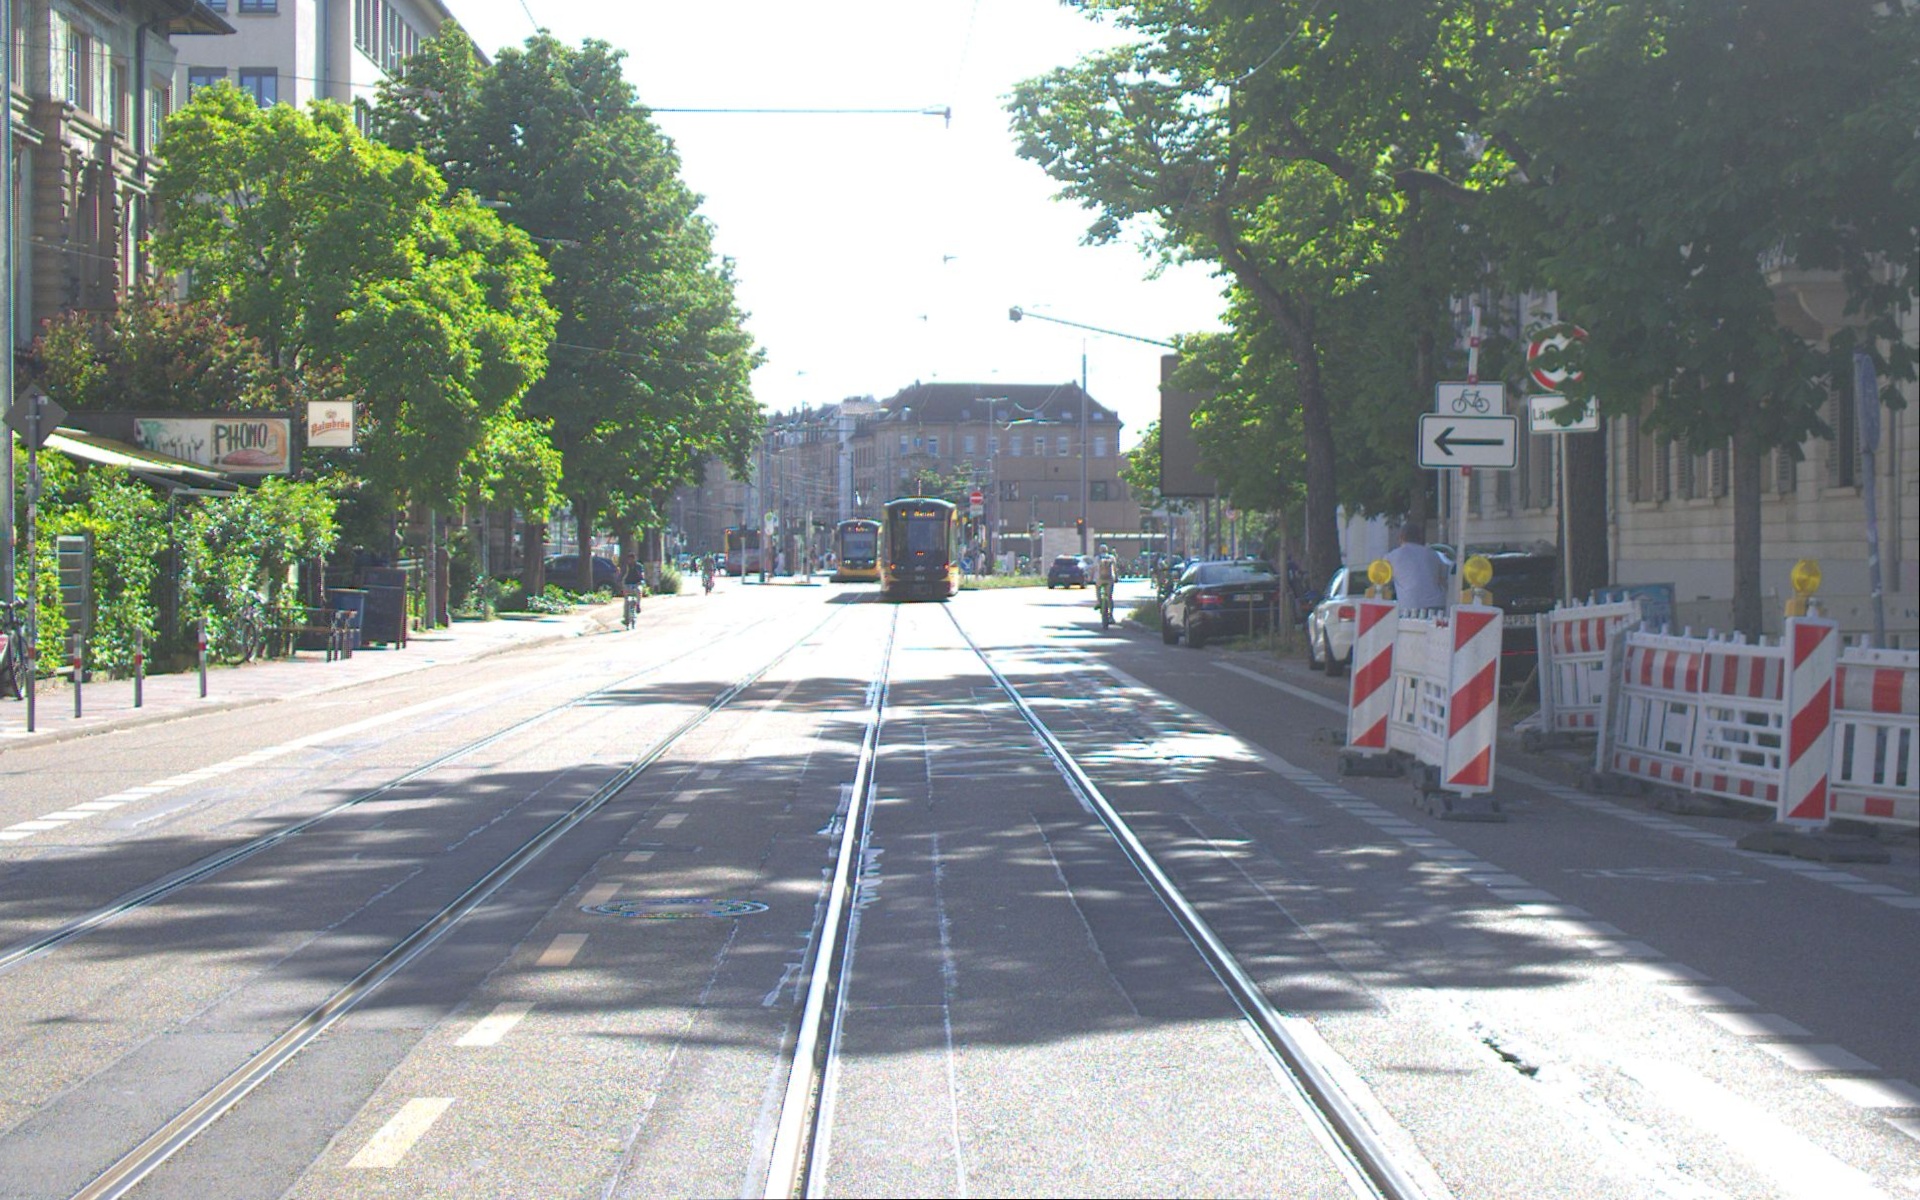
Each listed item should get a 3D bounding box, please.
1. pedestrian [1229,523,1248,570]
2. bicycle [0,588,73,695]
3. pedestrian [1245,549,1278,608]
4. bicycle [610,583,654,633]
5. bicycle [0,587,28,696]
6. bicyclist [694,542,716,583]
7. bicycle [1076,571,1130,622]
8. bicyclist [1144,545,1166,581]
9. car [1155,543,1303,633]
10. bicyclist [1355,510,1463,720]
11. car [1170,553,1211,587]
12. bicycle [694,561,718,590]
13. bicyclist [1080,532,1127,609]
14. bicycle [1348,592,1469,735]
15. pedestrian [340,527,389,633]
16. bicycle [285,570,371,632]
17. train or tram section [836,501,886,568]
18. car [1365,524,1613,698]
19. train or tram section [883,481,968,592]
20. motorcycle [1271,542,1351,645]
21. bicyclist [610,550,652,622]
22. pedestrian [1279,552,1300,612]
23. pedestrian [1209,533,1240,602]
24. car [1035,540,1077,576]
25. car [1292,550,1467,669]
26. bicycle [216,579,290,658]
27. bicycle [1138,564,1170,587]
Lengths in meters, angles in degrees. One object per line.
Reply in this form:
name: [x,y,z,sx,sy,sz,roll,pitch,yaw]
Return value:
pedestrian: [11.515,-2.217,142.359,0.637,1.897,1.134,-2,1,1]
bicycle: [-10.065,0.429,36.711,0.661,1.086,1.840,3,0,0]
pedestrian: [8.498,-0.590,96.796,0.857,1.635,0.993,0,-1,2]
bicycle: [-7.516,0.176,78.850,0.745,1.078,1.899,-3,1,1]
bicycle: [-10.024,0.409,34.729,0.661,1.086,1.840,3,0,0]
bicyclist: [-10.303,-1.532,139.002,0.687,1.639,1.237,-2,1,3]
bicycle: [3.172,-0.083,76.377,0.705,1.101,1.715,2,2,19]
bicyclist: [9.274,-1.762,163.423,0.706,1.694,0.986,3,2,24]
car: [4.645,-0.233,60.027,1.821,1.453,4.819,-2,1,-4]
bicyclist: [3.697,0.114,28.361,0.738,1.680,0.972,1,1,1]
car: [10.842,-1.441,161.852,1.789,1.506,3.712,1,1,2]
bicycle: [-10.284,-0.987,139.028,0.687,1.120,1.931,-2,1,3]
bicyclist: [3.192,-0.664,76.363,0.705,1.669,1.100,2,1,19]
bicycle: [3.689,0.500,28.403,0.738,1.090,2.111,1,1,1]
pedestrian: [-10.329,-0.353,59.667,0.576,1.825,0.689,0,1,18]
bicycle: [-10.986,0.006,59.838,0.637,1.042,2.020,0,1,16]
train or tram section: [-5.598,-3.746,195.145,2.742,3.639,13.787,0,1,-2]
car: [5.401,0.067,35.642,1.810,1.620,4.584,-2,1,0]
train or tram section: [-1.298,-2.235,119.871,2.742,3.639,13.787,0,1,-2]
motorcycle: [5.279,-0.117,51.812,0.913,1.483,2.679,-2,1,1]
bicyclist: [-7.541,-0.326,78.844,0.745,1.594,1.118,-3,1,1]
pedestrian: [8.785,-0.488,91.690,0.518,1.595,0.764,0,1,2]
pedestrian: [7.070,-0.873,92.018,0.683,1.843,0.955,-1,1,-2]
car: [4.510,-1.989,160.550,1.789,1.599,3.712,1,1,4]
car: [5.279,0.086,43.732,1.724,1.377,4.356,-2,1,1]
bicycle: [-10.094,0.254,49.129,0.638,1.055,1.743,2,1,0]
bicycle: [9.248,-1.175,163.446,0.706,1.051,2.311,3,2,24]
